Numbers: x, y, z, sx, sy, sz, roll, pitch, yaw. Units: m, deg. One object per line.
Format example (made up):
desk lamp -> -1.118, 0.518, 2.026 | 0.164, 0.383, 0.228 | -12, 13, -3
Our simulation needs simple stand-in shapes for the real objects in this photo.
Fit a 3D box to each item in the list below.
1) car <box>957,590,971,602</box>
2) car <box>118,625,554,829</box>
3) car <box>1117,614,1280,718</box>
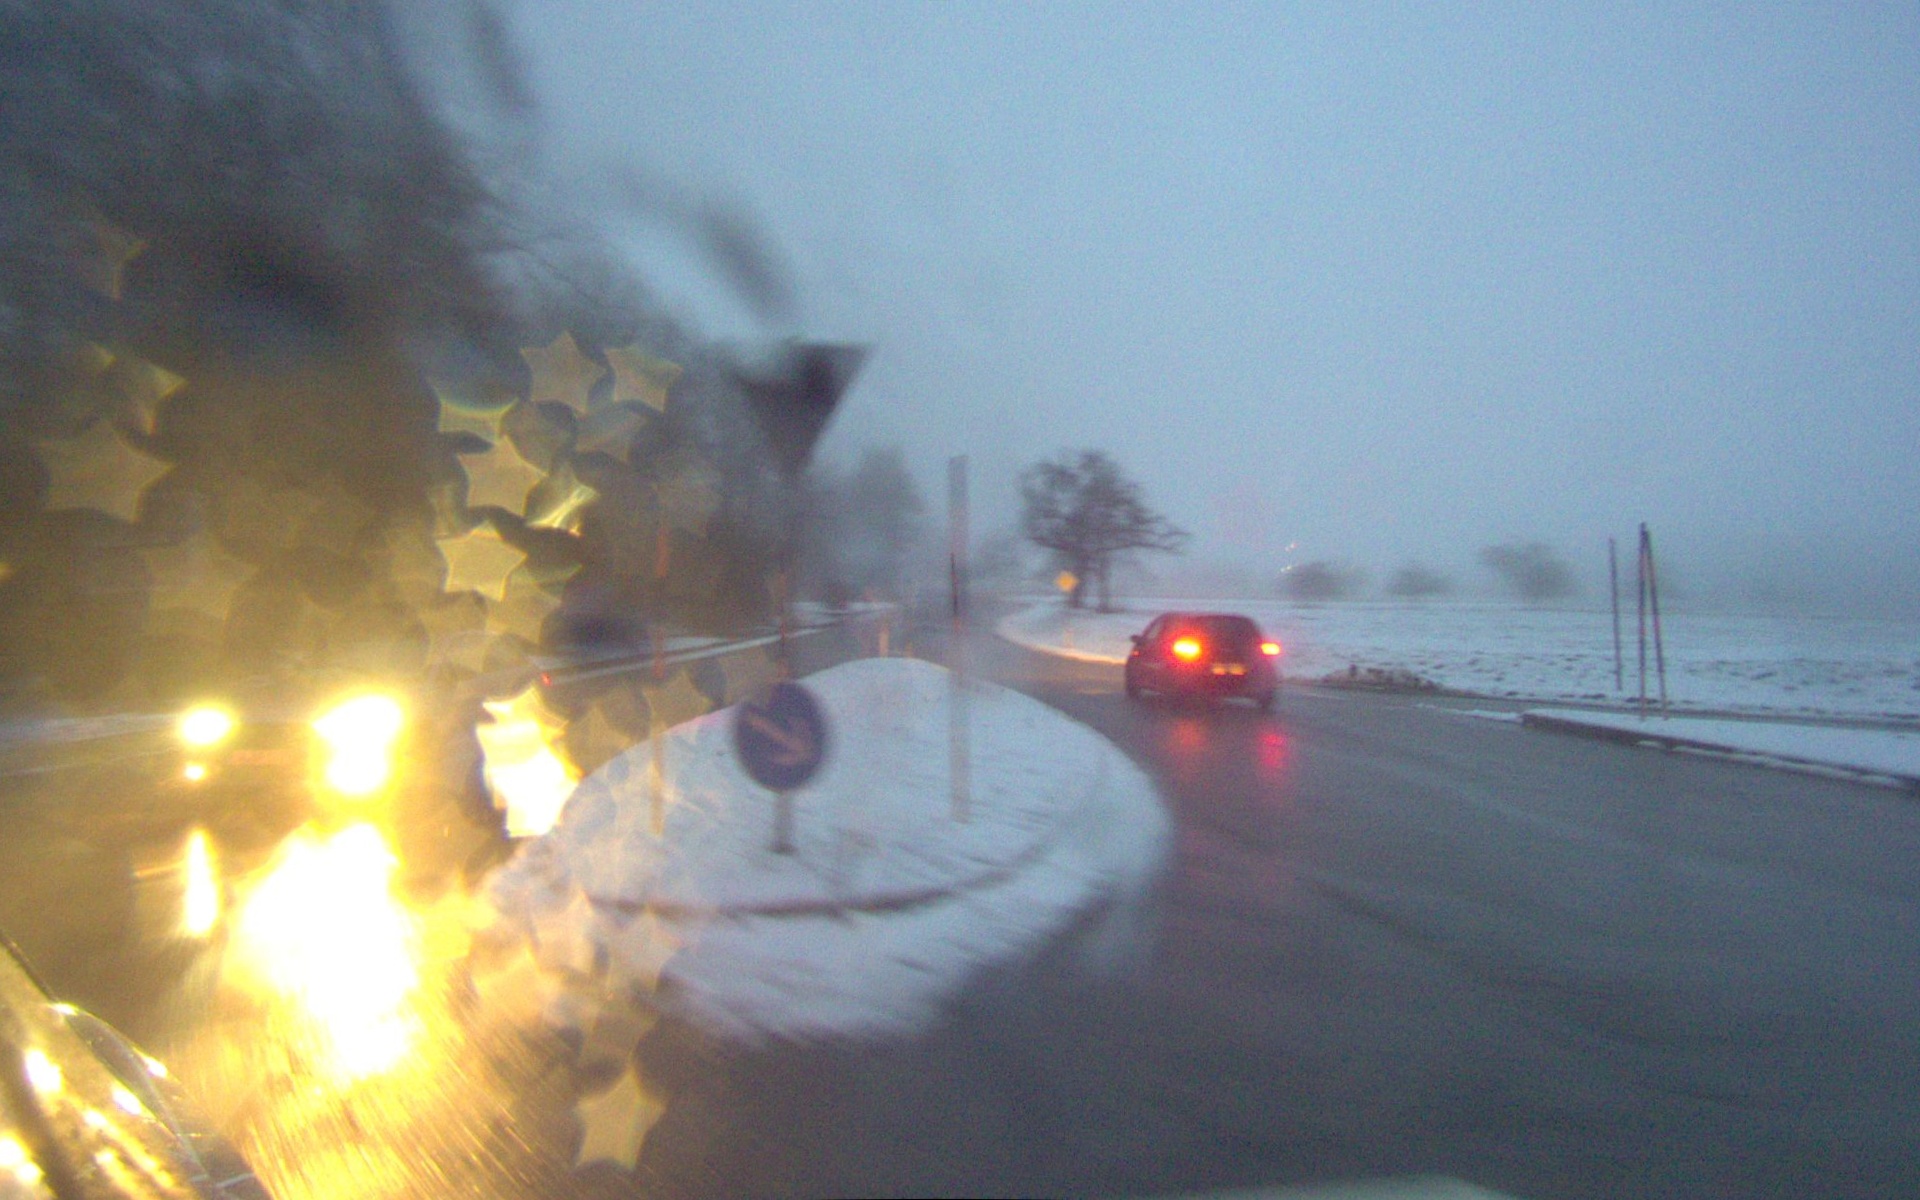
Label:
car -> 0.601, -0.596, 152.425 | 1.973, 1.820, 3.998 | -1, 0, 2
car -> -5.397, 0.998, 9.381 | 1.703, 1.445, 3.674 | -1, -1, 2
car -> 3.663, 0.965, 16.113 | 1.553, 1.463, 3.416 | -1, -1, -4
